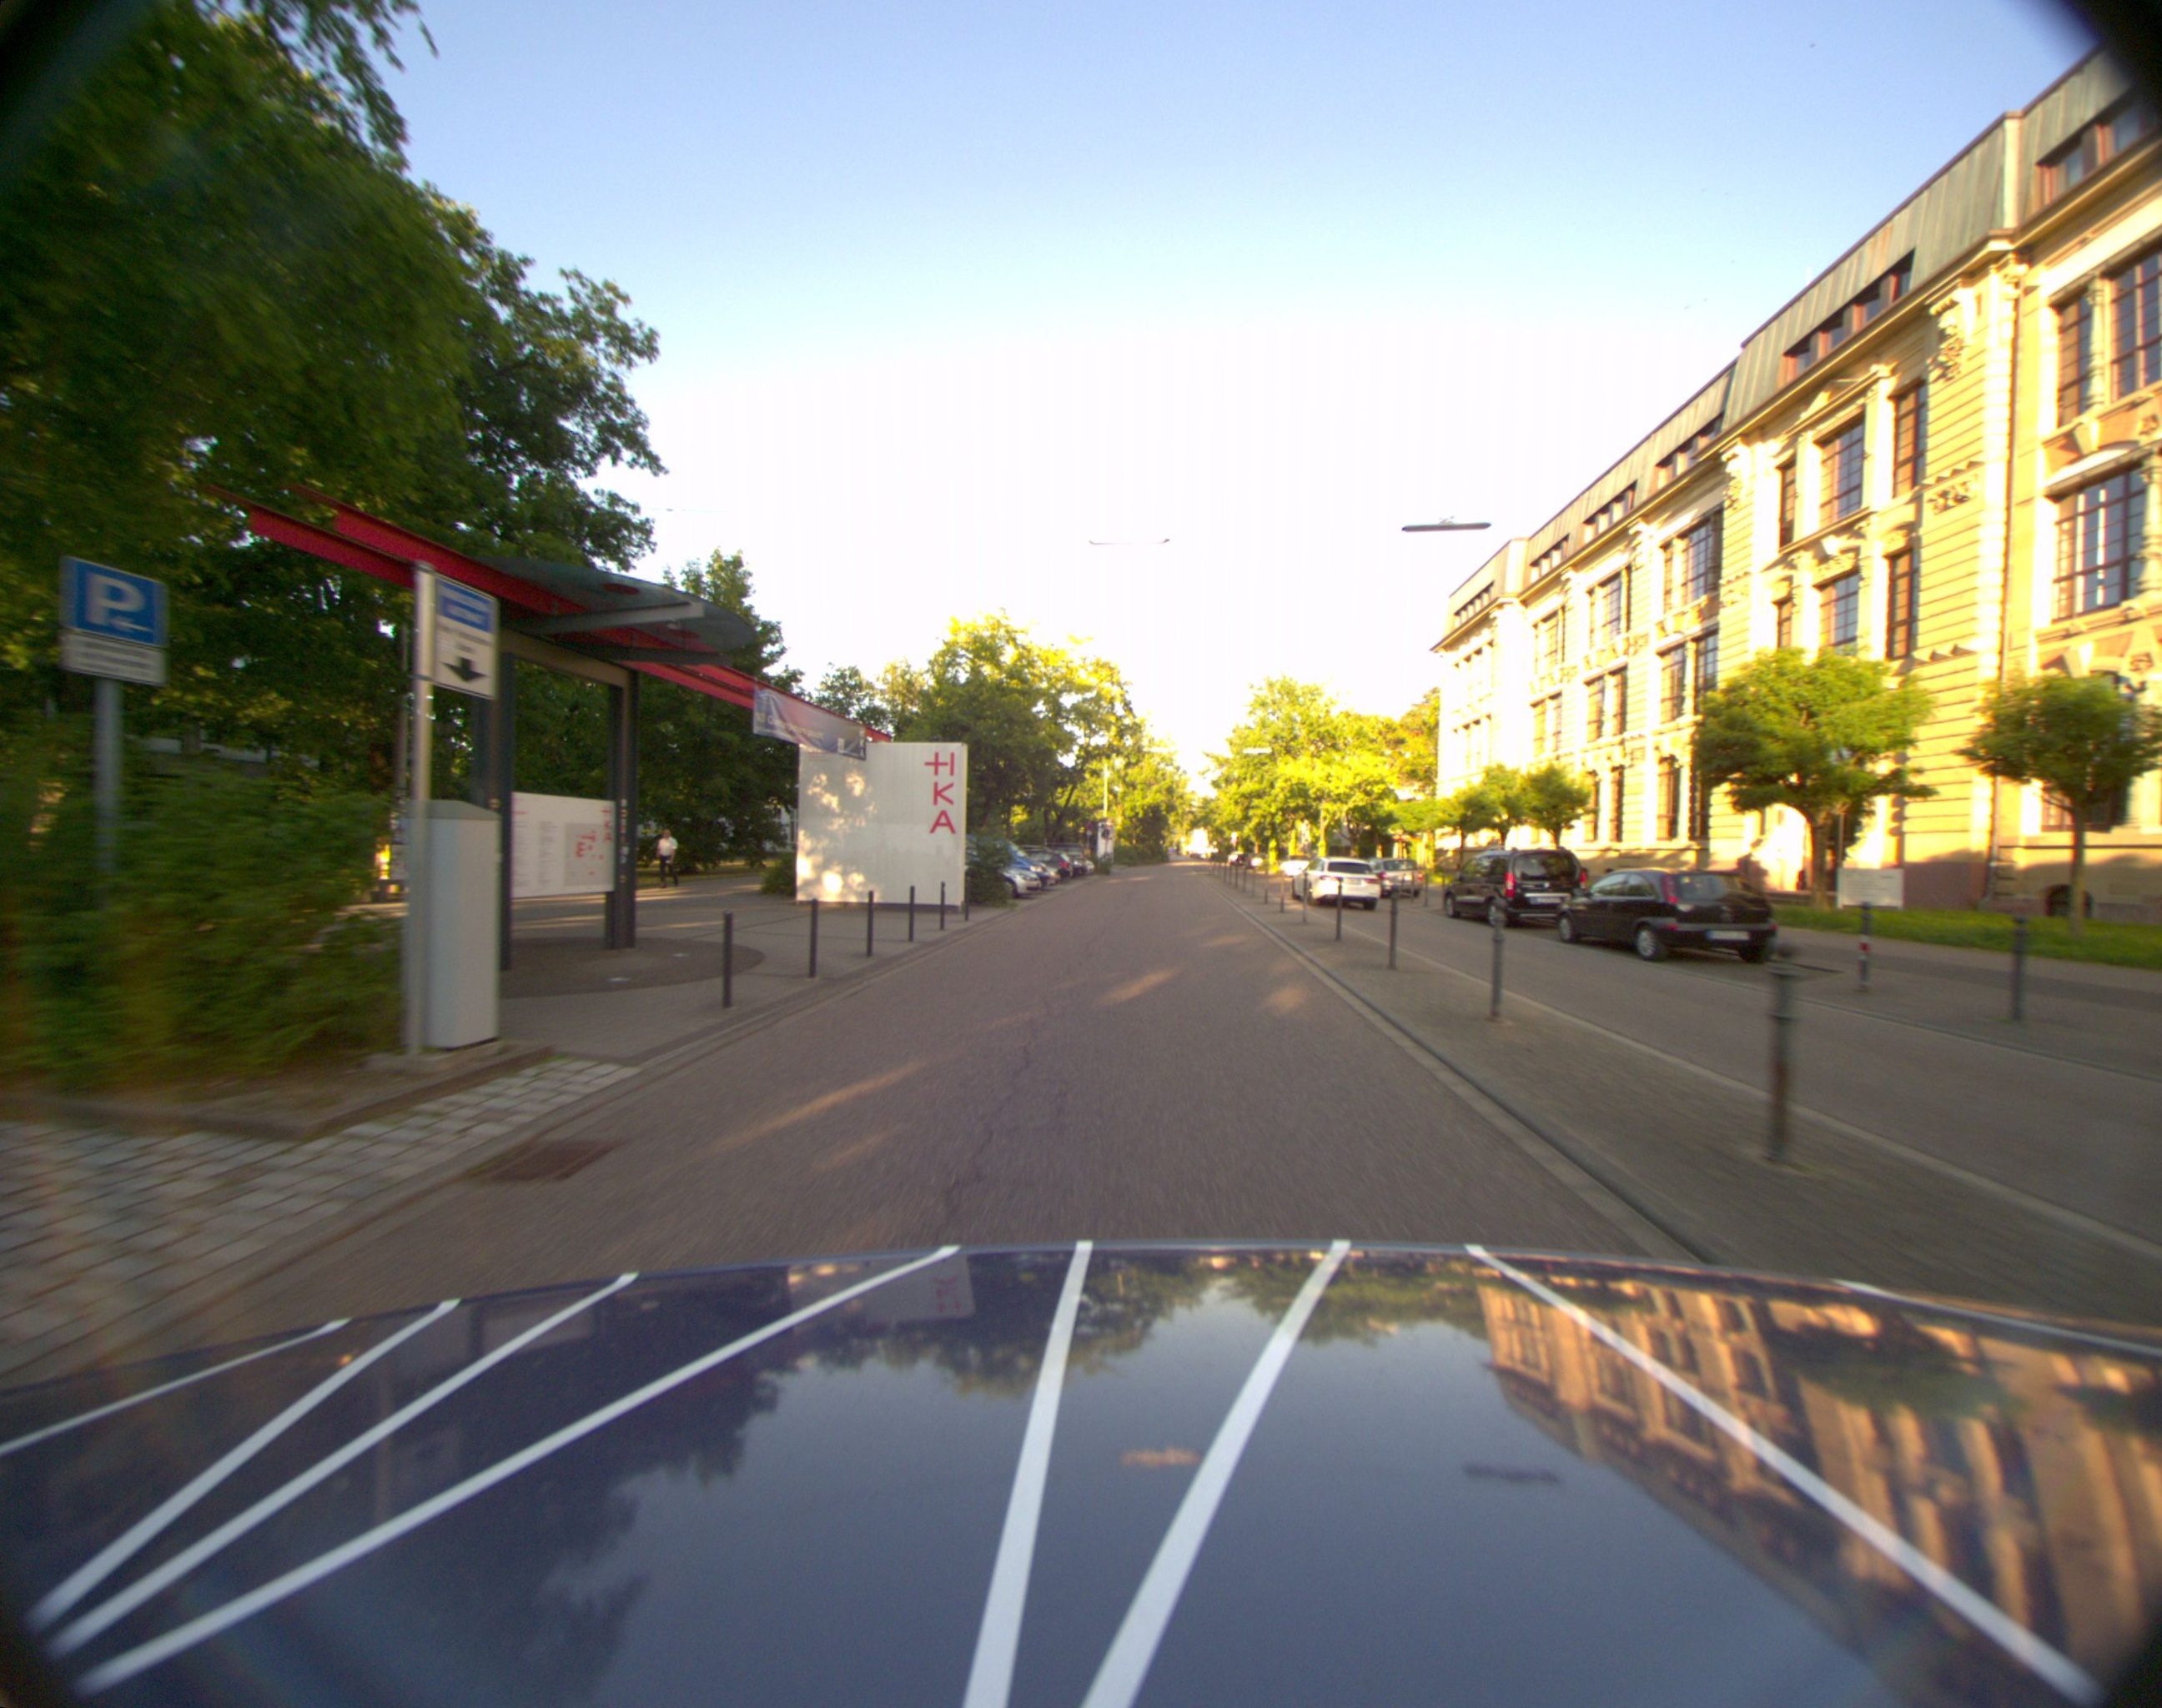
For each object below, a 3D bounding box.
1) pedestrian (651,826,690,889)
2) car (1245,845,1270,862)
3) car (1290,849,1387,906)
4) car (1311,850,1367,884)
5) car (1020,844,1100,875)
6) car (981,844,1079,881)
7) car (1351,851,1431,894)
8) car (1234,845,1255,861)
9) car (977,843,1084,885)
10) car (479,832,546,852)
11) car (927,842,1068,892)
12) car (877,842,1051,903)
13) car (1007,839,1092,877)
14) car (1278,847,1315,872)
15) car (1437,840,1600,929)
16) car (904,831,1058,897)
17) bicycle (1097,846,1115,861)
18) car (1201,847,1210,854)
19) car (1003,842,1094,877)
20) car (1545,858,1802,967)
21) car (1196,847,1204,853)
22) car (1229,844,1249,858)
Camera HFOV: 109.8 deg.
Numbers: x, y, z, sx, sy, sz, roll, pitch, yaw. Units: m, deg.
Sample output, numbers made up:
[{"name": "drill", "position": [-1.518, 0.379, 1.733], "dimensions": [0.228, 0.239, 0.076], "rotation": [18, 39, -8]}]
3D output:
[{"name": "pedestrian", "position": [-11.721, 0.107, 21.715], "dimensions": [0.665, 1.762, 0.786], "rotation": [1, 1, 2]}, {"name": "car", "position": [15.985, -0.066, 68.975], "dimensions": [1.806, 1.502, 4.864], "rotation": [0, 1, 7]}, {"name": "car", "position": [7.640, 0.616, 22.970], "dimensions": [1.744, 1.450, 4.625], "rotation": [2, 1, 6]}, {"name": "car", "position": [12.178, 0.563, 36.125], "dimensions": [1.621, 1.487, 4.379], "rotation": [1, 1, 6]}, {"name": "car", "position": [-1.200, 0.286, 44.111], "dimensions": [4.371, 1.545, 1.728], "rotation": [3, 1, 6]}, {"name": "car", "position": [-2.399, 0.377, 36.444], "dimensions": [4.371, 1.528, 1.921], "rotation": [3, 1, 6]}, {"name": "car", "position": [11.705, 0.638, 28.957], "dimensions": [1.722, 1.487, 4.379], "rotation": [1, 1, 7]}, {"name": "car", "position": [17.128, -0.079, 79.773], "dimensions": [1.783, 1.607, 4.148], "rotation": [0, 1, 6]}, {"name": "car", "position": [-2.162, 0.408, 33.254], "dimensions": [4.371, 1.528, 1.921], "rotation": [3, 1, 6]}, {"name": "car", "position": [-43.553, -0.942, 58.253], "dimensions": [3.995, 1.468, 1.737], "rotation": [1, 1, 6]}, {"name": "car", "position": [-3.096, 0.468, 28.662], "dimensions": [4.936, 1.545, 1.917], "rotation": [3, 1, 6]}, {"name": "car", "position": [-3.538, 0.534, 23.556], "dimensions": [4.936, 1.545, 1.917], "rotation": [3, 1, 6]}, {"name": "car", "position": [-1.682, 0.202, 41.899], "dimensions": [4.371, 1.770, 1.921], "rotation": [3, 1, 6]}, {"name": "car", "position": [13.760, 0.337, 48.612], "dimensions": [1.621, 1.487, 3.926], "rotation": [1, 1, 6]}, {"name": "car", "position": [10.243, 0.625, 18.200], "dimensions": [1.781, 1.855, 4.334], "rotation": [-1, 0, 7]}, {"name": "car", "position": [-3.366, 0.309, 26.078], "dimensions": [4.862, 1.905, 1.917], "rotation": [3, 1, 6]}, {"name": "bicycle", "position": [2.037, 0.003, 62.221], "dimensions": [0.492, 1.141, 2.289], "rotation": [5, 1, 26]}, {"name": "car", "position": [26.954, -0.802, 164.698], "dimensions": [1.775, 1.474, 4.110], "rotation": [0, 0, 6]}, {"name": "car", "position": [-1.606, 0.258, 39.058], "dimensions": [4.371, 1.545, 1.877], "rotation": [3, 1, 6]}, {"name": "car", "position": [9.553, 0.852, 12.689], "dimensions": [1.699, 1.462, 3.856], "rotation": [-1, 1, 8]}, {"name": "car", "position": [30.494, -1.107, 194.290], "dimensions": [1.775, 1.559, 4.110], "rotation": [0, 0, 6]}, {"name": "car", "position": [18.207, -0.358, 87.812], "dimensions": [1.807, 1.607, 4.148], "rotation": [1, 1, 6]}]
